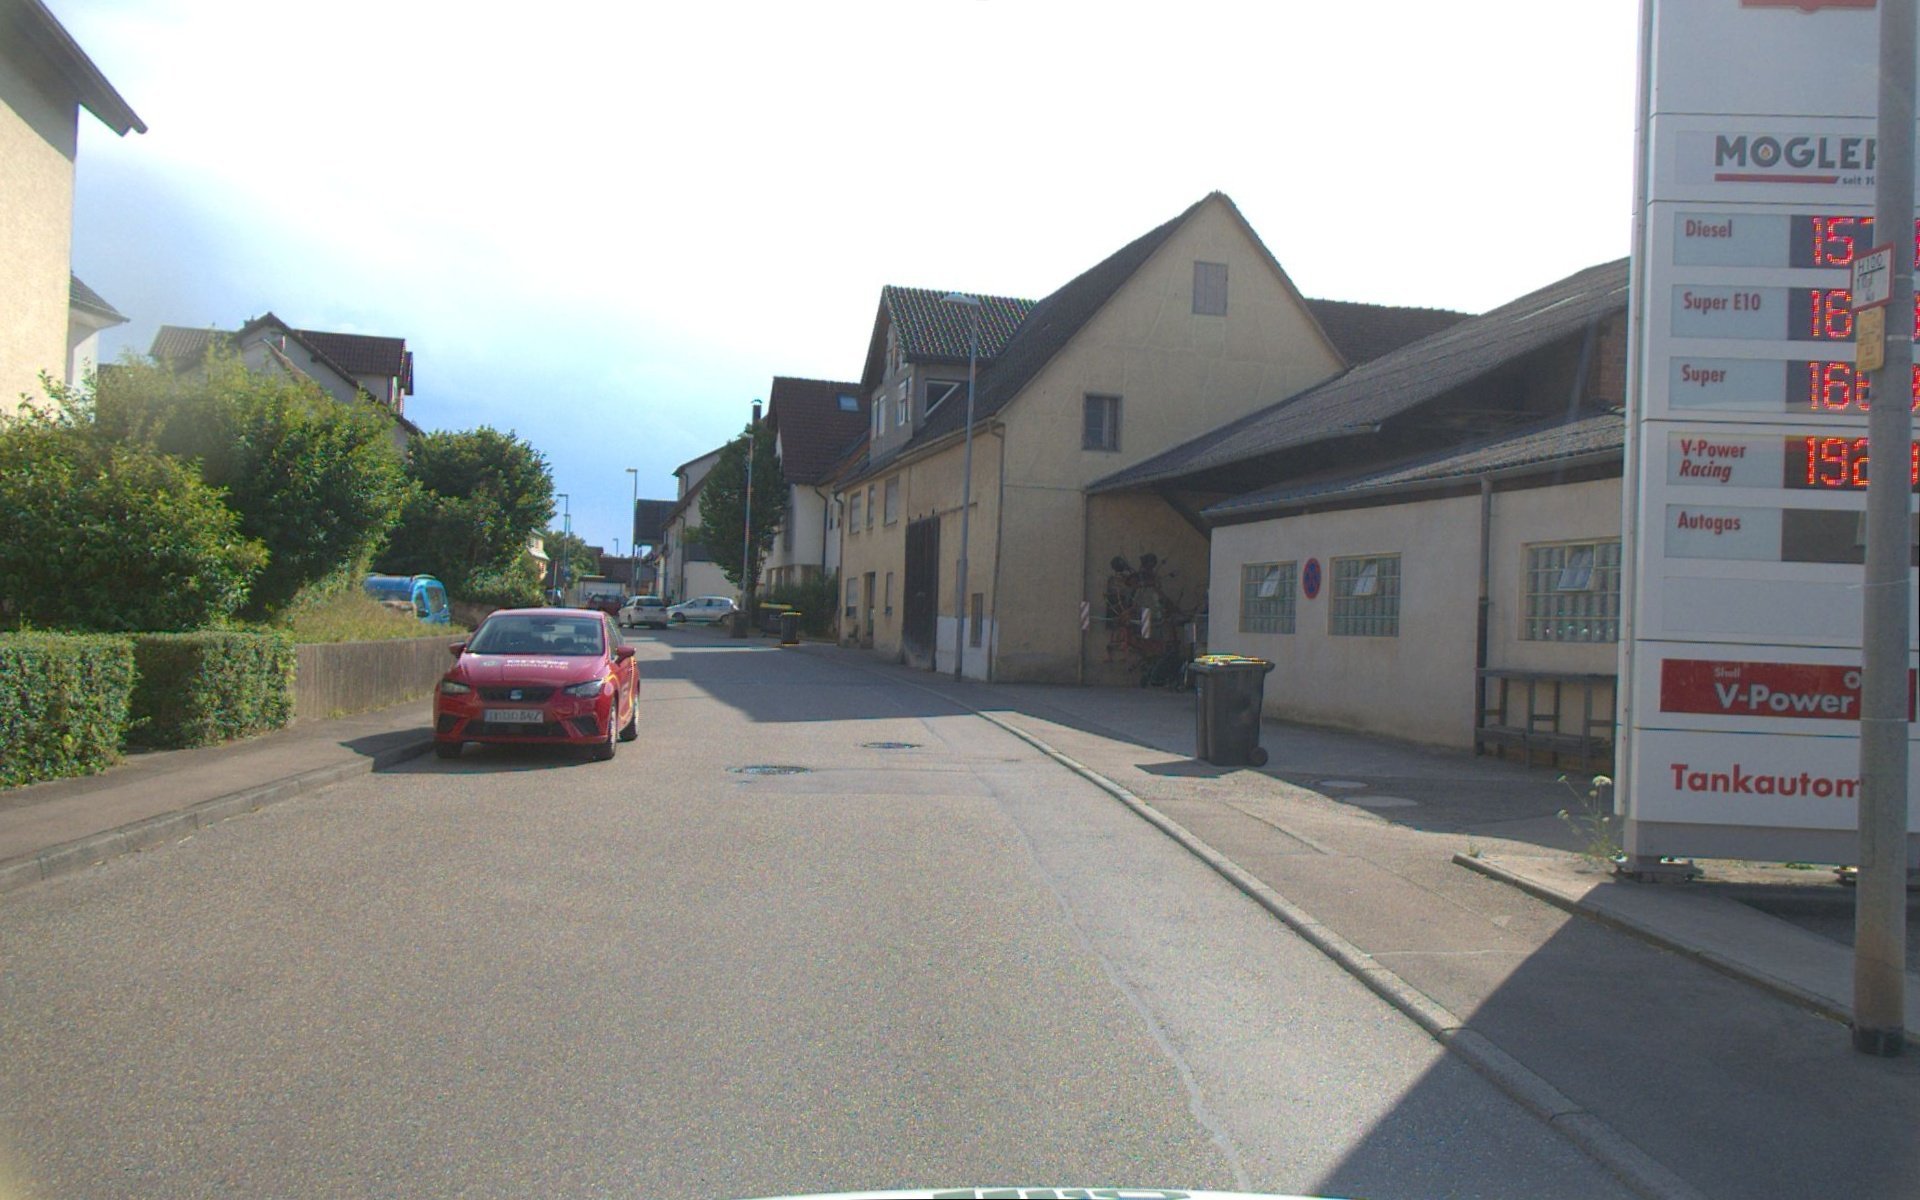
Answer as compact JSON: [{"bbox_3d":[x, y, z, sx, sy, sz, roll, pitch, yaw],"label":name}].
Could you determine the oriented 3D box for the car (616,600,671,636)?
[{"bbox_3d":[-14.705,0.828,76.768,1.682,1.606,3.971,2,-1,-23],"label":"car"}]

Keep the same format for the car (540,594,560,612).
[{"bbox_3d":[-37.865,0.327,152.794,1.676,1.578,3.986,2,-1,-14],"label":"car"}]

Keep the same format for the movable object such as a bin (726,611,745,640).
[{"bbox_3d":[-8.764,1.003,64.648,0.642,1.092,0.511,2,-1,-15],"label":"movable object such as a bin"}]

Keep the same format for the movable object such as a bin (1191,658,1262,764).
[{"bbox_3d":[2.839,1.179,17.673,0.640,1.092,0.513,2,-1,-2],"label":"movable object such as a bin"}]

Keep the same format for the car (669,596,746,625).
[{"bbox_3d":[-13.172,0.575,86.550,3.912,1.376,1.707,2,-1,-8],"label":"car"}]

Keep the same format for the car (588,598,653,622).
[{"bbox_3d":[-21.602,0.626,105.290,3.920,1.376,1.704,2,-1,-15],"label":"car"}]

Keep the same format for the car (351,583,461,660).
[{"bbox_3d":[-10.639,0.429,31.935,1.333,1.396,3.191,0,-1,-6],"label":"car"}]

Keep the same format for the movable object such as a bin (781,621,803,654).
[{"bbox_3d":[-5.698,1.280,56.029,0.642,1.092,0.511,2,-1,-15],"label":"movable object such as a bin"}]

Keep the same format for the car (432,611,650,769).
[{"bbox_3d":[-4.232,0.872,17.235,1.676,1.460,3.774,0,-1,-6],"label":"car"}]

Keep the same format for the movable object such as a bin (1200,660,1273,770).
[{"bbox_3d":[2.859,1.184,17.132,0.640,1.092,0.513,2,-1,-2],"label":"movable object such as a bin"}]

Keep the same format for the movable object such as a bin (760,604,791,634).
[{"bbox_3d":[-7.378,0.756,66.125,1.140,1.189,0.653,2,-1,-11],"label":"movable object such as a bin"}]
